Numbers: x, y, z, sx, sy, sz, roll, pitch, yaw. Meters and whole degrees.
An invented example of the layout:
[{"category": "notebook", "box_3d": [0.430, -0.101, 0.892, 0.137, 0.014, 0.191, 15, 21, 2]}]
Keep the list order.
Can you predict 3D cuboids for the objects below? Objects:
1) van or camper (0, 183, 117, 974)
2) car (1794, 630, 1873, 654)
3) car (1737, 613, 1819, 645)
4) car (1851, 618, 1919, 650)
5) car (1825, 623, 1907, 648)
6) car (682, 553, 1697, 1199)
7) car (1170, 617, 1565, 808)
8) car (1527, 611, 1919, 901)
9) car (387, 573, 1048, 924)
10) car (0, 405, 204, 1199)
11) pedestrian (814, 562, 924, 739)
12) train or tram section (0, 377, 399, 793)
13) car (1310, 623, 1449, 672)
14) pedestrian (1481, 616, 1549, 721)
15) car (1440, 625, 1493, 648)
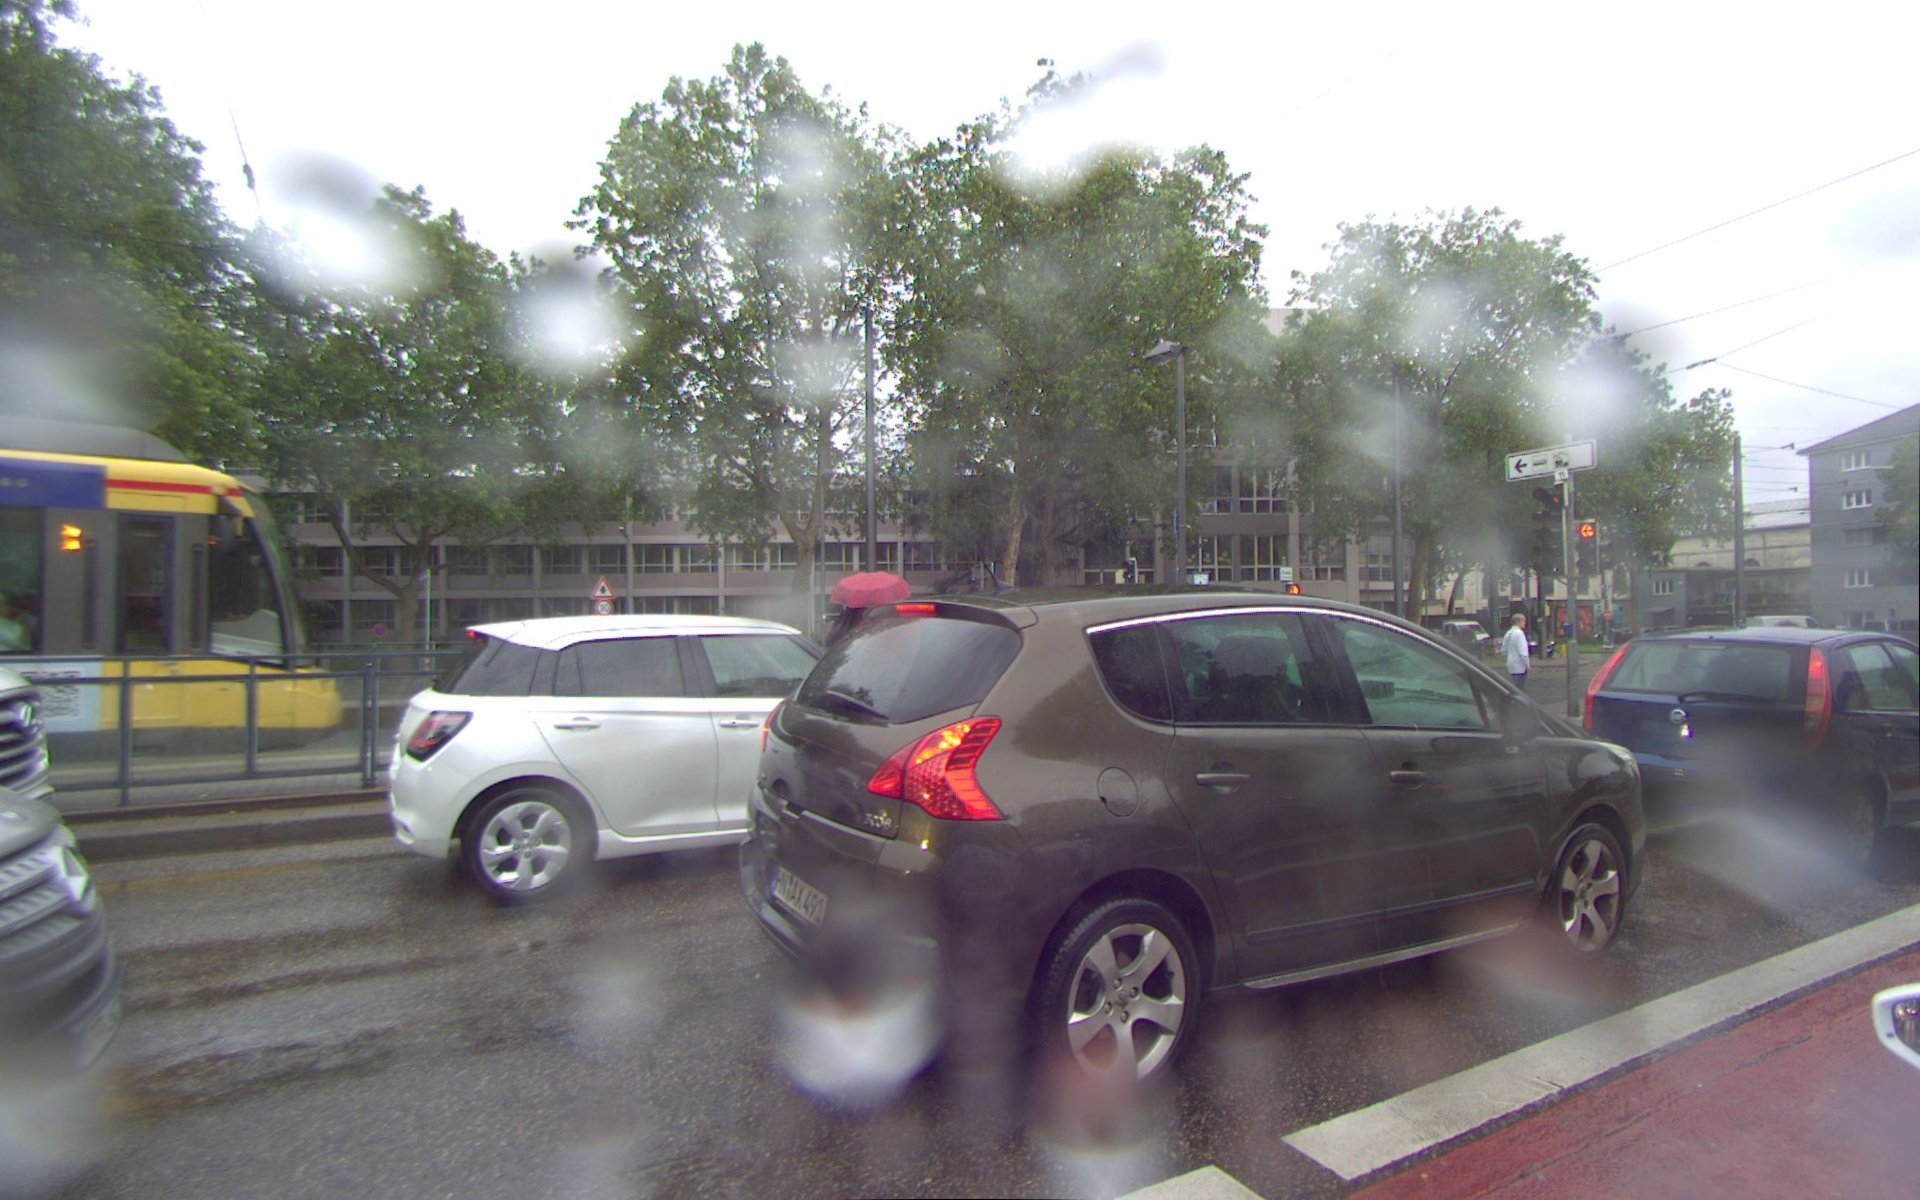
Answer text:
[{"category": "van or camper", "box_3d": [-6.822, -0.102, 3.371, 5.786, 3.183, 2.147, 1, -2, -32]}, {"category": "car", "box_3d": [61.853, 2.946, 71.158, 3.922, 1.516, 1.959, -1, 1, -3]}, {"category": "car", "box_3d": [60.173, 2.139, 73.918, 4.698, 2.228, 1.998, -1, 1, -6]}, {"category": "car", "box_3d": [61.384, 2.235, 65.998, 3.922, 2.040, 1.999, 1, 0, -3]}, {"category": "car", "box_3d": [61.937, 2.411, 68.701, 3.922, 1.550, 1.999, -1, 0, -3]}, {"category": "car", "box_3d": [1.114, 0.772, 4.308, 4.124, 1.690, 1.826, 1, -1, -30]}, {"category": "car", "box_3d": [4.003, 0.952, 9.749, 3.737, 1.514, 1.621, 1, -1, -30]}, {"category": "car", "box_3d": [6.050, 0.910, 7.283, 3.776, 1.599, 1.719, 1, -1, -30]}, {"category": "car", "box_3d": [-1.455, 0.751, 6.411, 3.791, 1.650, 1.637, 1, -2, -30]}, {"category": "car", "box_3d": [-3.841, 0.561, 1.240, 4.412, 1.794, 2.014, 1, -1, -31]}, {"category": "pedestrian", "box_3d": [-0.969, 0.528, 10.611, 0.888, 1.769, 0.762, 0, -3, -30]}, {"category": "train or tram section", "box_3d": [-12.966, -0.233, 7.425, 15.324, 3.458, 3.523, 1, 0, -31]}, {"category": "car", "box_3d": [12.082, 1.359, 28.958, 3.466, 1.331, 1.594, 1, -1, -16]}, {"category": "pedestrian", "box_3d": [8.874, 1.074, 16.067, 0.731, 1.628, 0.623, 1, 0, -23]}, {"category": "car", "box_3d": [34.763, 2.531, 69.042, 1.533, 1.514, 3.781, 0, -2, -4]}]
